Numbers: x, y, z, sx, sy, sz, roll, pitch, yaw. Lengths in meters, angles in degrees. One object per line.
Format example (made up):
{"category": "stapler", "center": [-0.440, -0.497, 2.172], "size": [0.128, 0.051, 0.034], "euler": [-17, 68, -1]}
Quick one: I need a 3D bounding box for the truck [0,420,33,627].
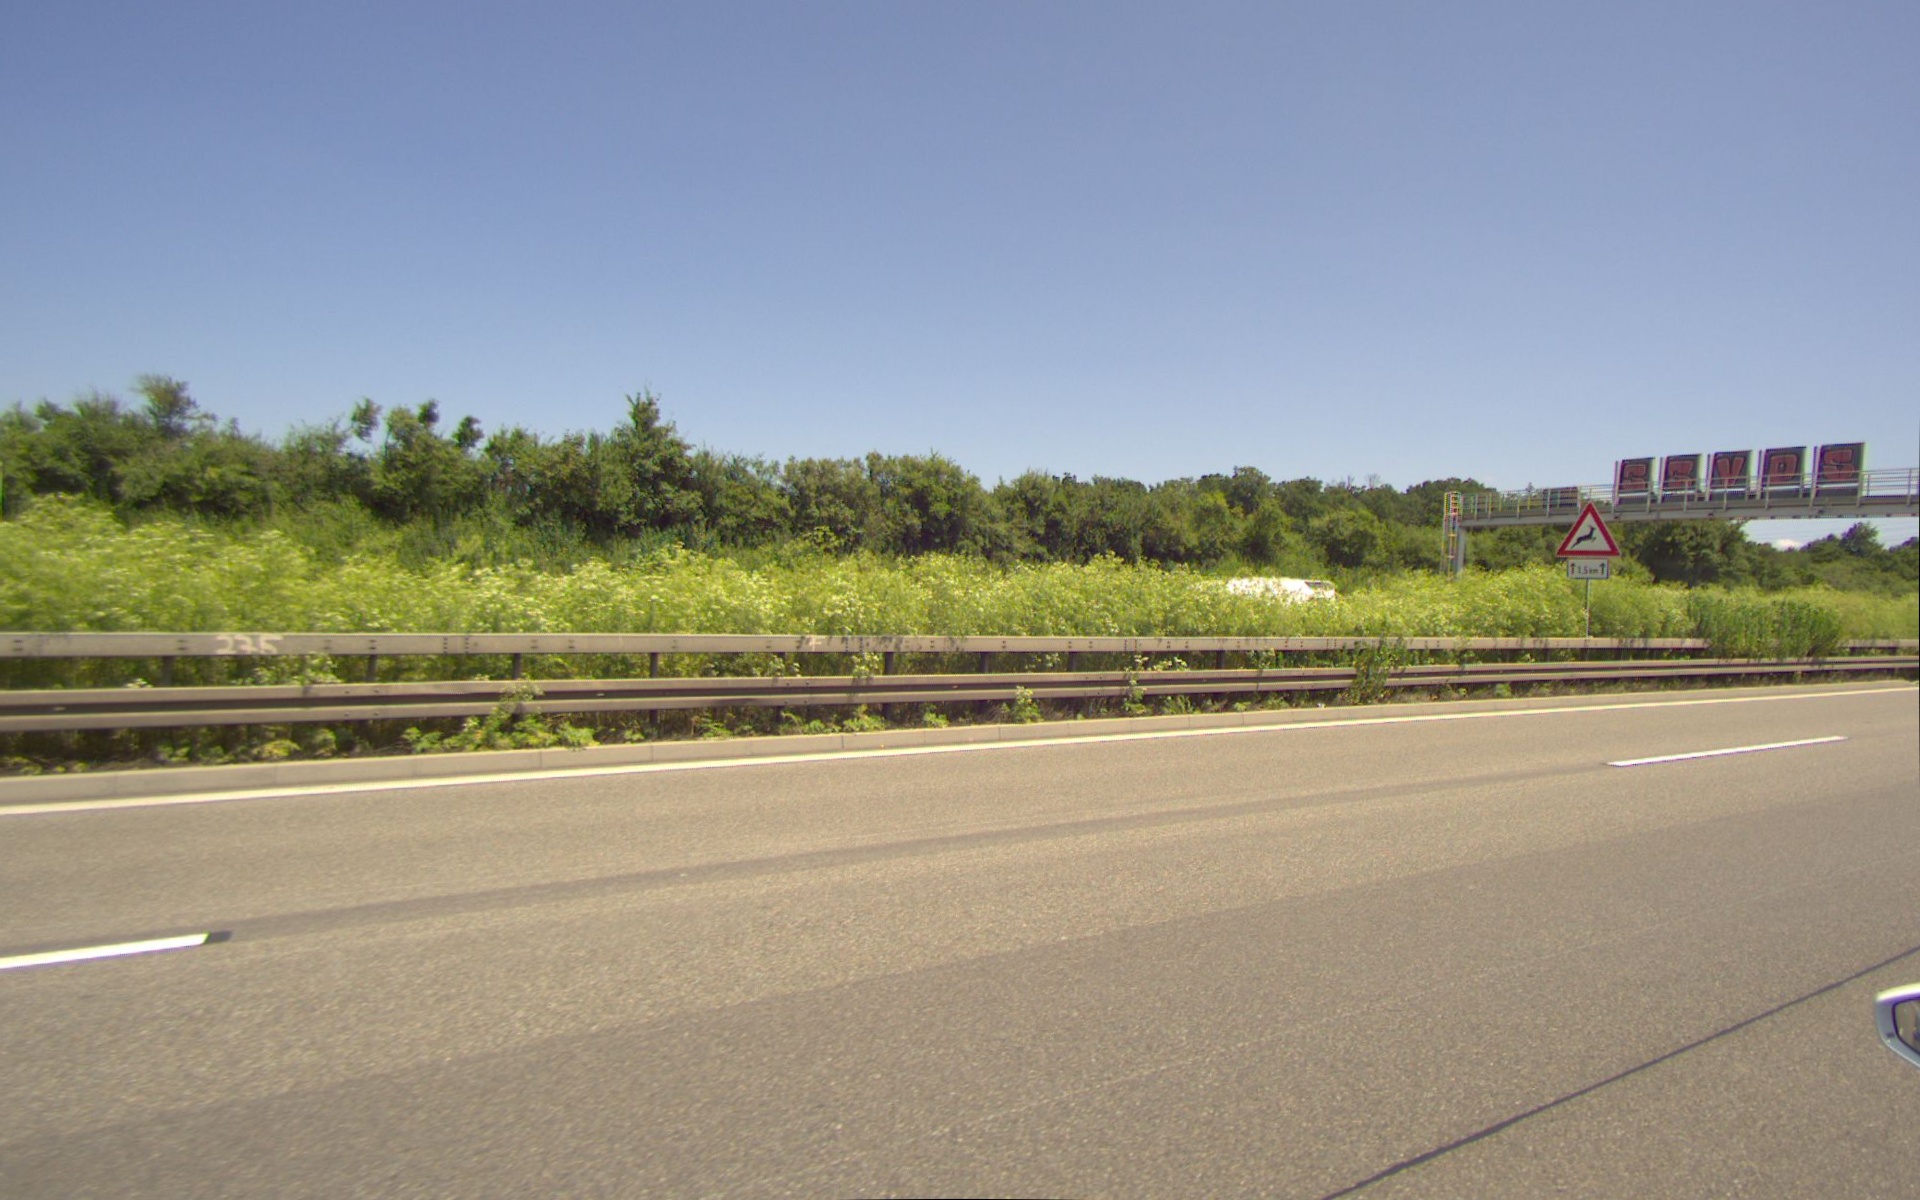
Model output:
{"category": "truck", "center": [-24.151, -1.401, 13.685], "size": [16.639, 3.595, 2.792], "euler": [1, -2, -31]}

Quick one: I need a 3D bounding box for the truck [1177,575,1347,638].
{"category": "truck", "center": [10.618, 0.241, 35.120], "size": [6.325, 2.040, 1.984], "euler": [1, -1, -31]}
